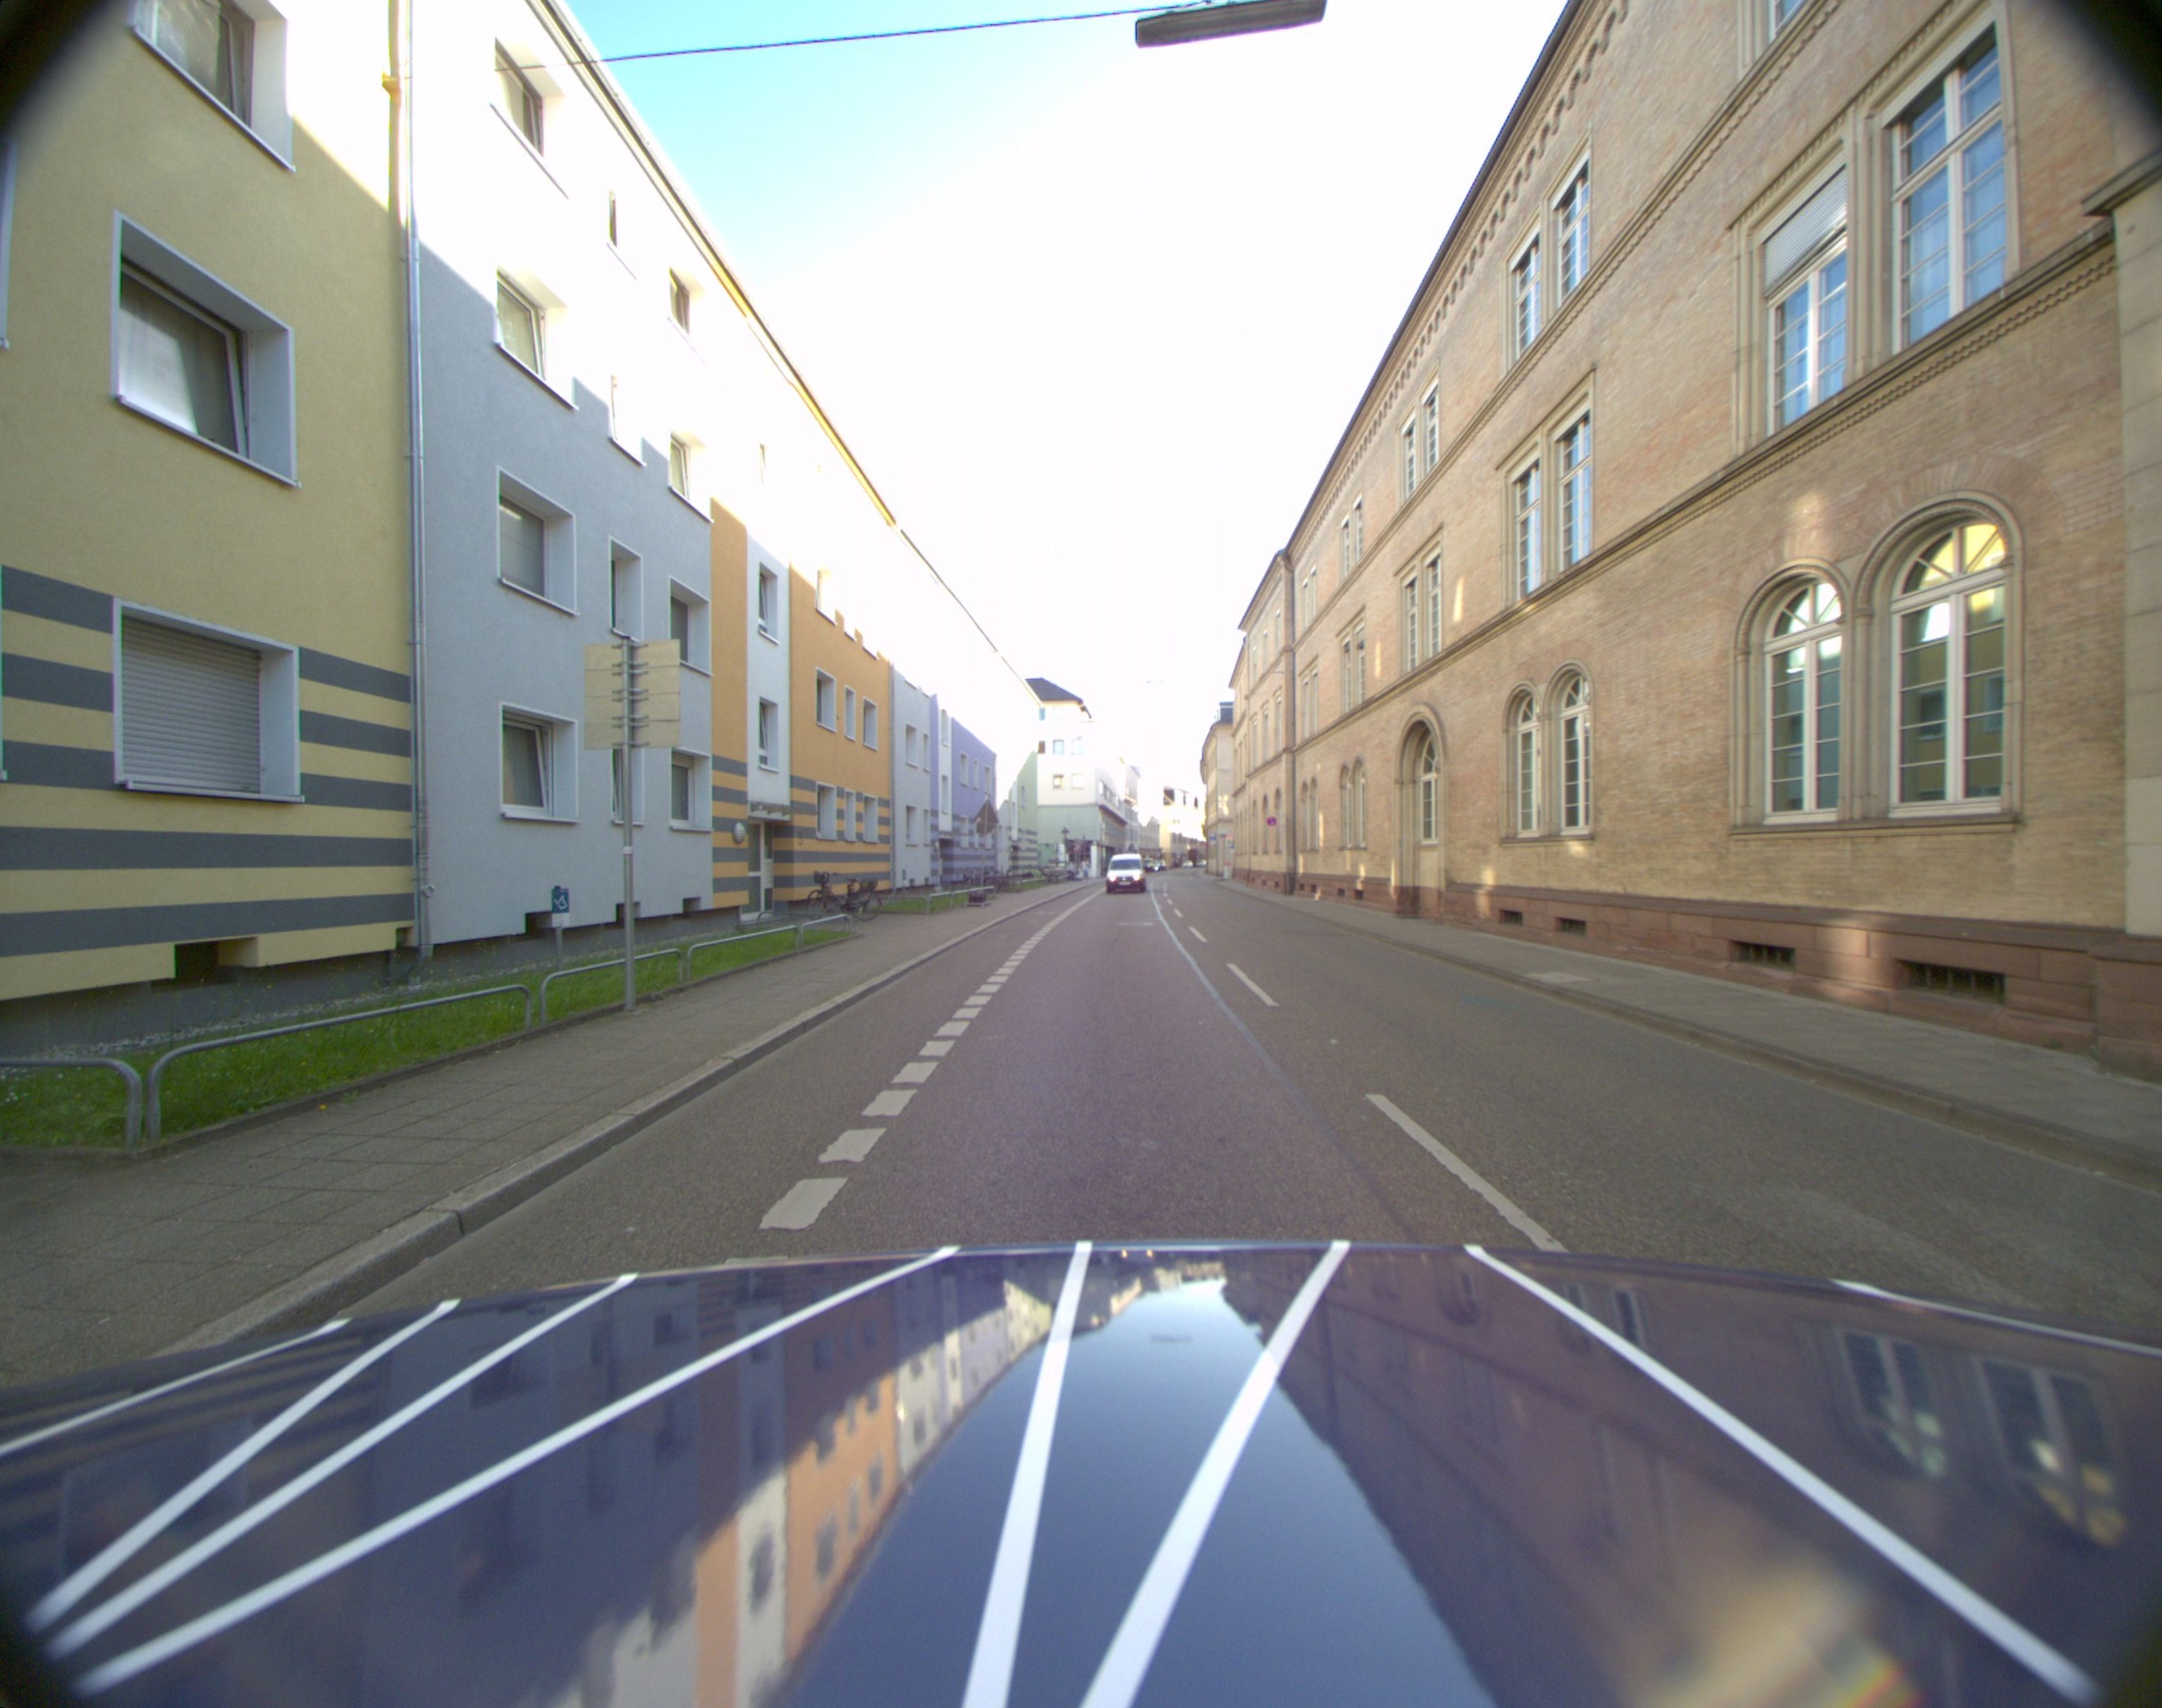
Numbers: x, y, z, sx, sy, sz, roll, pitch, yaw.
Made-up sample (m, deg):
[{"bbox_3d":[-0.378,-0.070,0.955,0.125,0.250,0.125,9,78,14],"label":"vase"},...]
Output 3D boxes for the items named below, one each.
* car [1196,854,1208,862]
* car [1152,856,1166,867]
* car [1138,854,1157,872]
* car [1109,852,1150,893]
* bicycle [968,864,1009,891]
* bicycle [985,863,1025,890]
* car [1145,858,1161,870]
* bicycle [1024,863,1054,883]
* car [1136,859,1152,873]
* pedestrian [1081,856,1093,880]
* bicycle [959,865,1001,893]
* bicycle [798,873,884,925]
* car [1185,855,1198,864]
[{"bbox_3d":[26.097,0.794,163.772,1.996,1.643,4.233,-2,1,17],"label":"car"},{"bbox_3d":[12.651,1.186,122.719,1.997,1.643,4.231,-2,1,9],"label":"car"},{"bbox_3d":[9.417,1.237,107.108,2.103,2.263,5.506,-2,1,11],"label":"car"},{"bbox_3d":[2.311,0.798,36.379,1.769,1.761,5.332,-1,1,3],"label":"car"},{"bbox_3d":[-4.031,1.017,33.154,1.676,1.145,0.484,0,0,4],"label":"bicycle"},{"bbox_3d":[-3.372,1.000,33.700,1.676,1.145,0.484,0,0,4],"label":"bicycle"},{"bbox_3d":[10.680,1.430,113.021,1.997,1.643,4.231,-2,1,10],"label":"car"},{"bbox_3d":[-2.515,1.150,46.071,1.779,1.145,0.484,0,0,0],"label":"bicycle"},{"bbox_3d":[8.382,1.596,100.973,1.998,1.643,4.230,-2,1,6],"label":"car"},{"bbox_3d":[0.431,0.958,53.260,0.705,1.627,0.833,2,2,5],"label":"pedestrian"},{"bbox_3d":[-4.235,1.044,31.861,1.676,1.145,0.484,0,0,4],"label":"bicycle"},{"bbox_3d":[-5.385,1.012,17.124,1.780,1.116,0.484,0,0,-5],"label":"bicycle"},{"bbox_3d":[22.114,1.079,152.041,1.996,1.643,4.233,-2,1,17],"label":"car"}]
